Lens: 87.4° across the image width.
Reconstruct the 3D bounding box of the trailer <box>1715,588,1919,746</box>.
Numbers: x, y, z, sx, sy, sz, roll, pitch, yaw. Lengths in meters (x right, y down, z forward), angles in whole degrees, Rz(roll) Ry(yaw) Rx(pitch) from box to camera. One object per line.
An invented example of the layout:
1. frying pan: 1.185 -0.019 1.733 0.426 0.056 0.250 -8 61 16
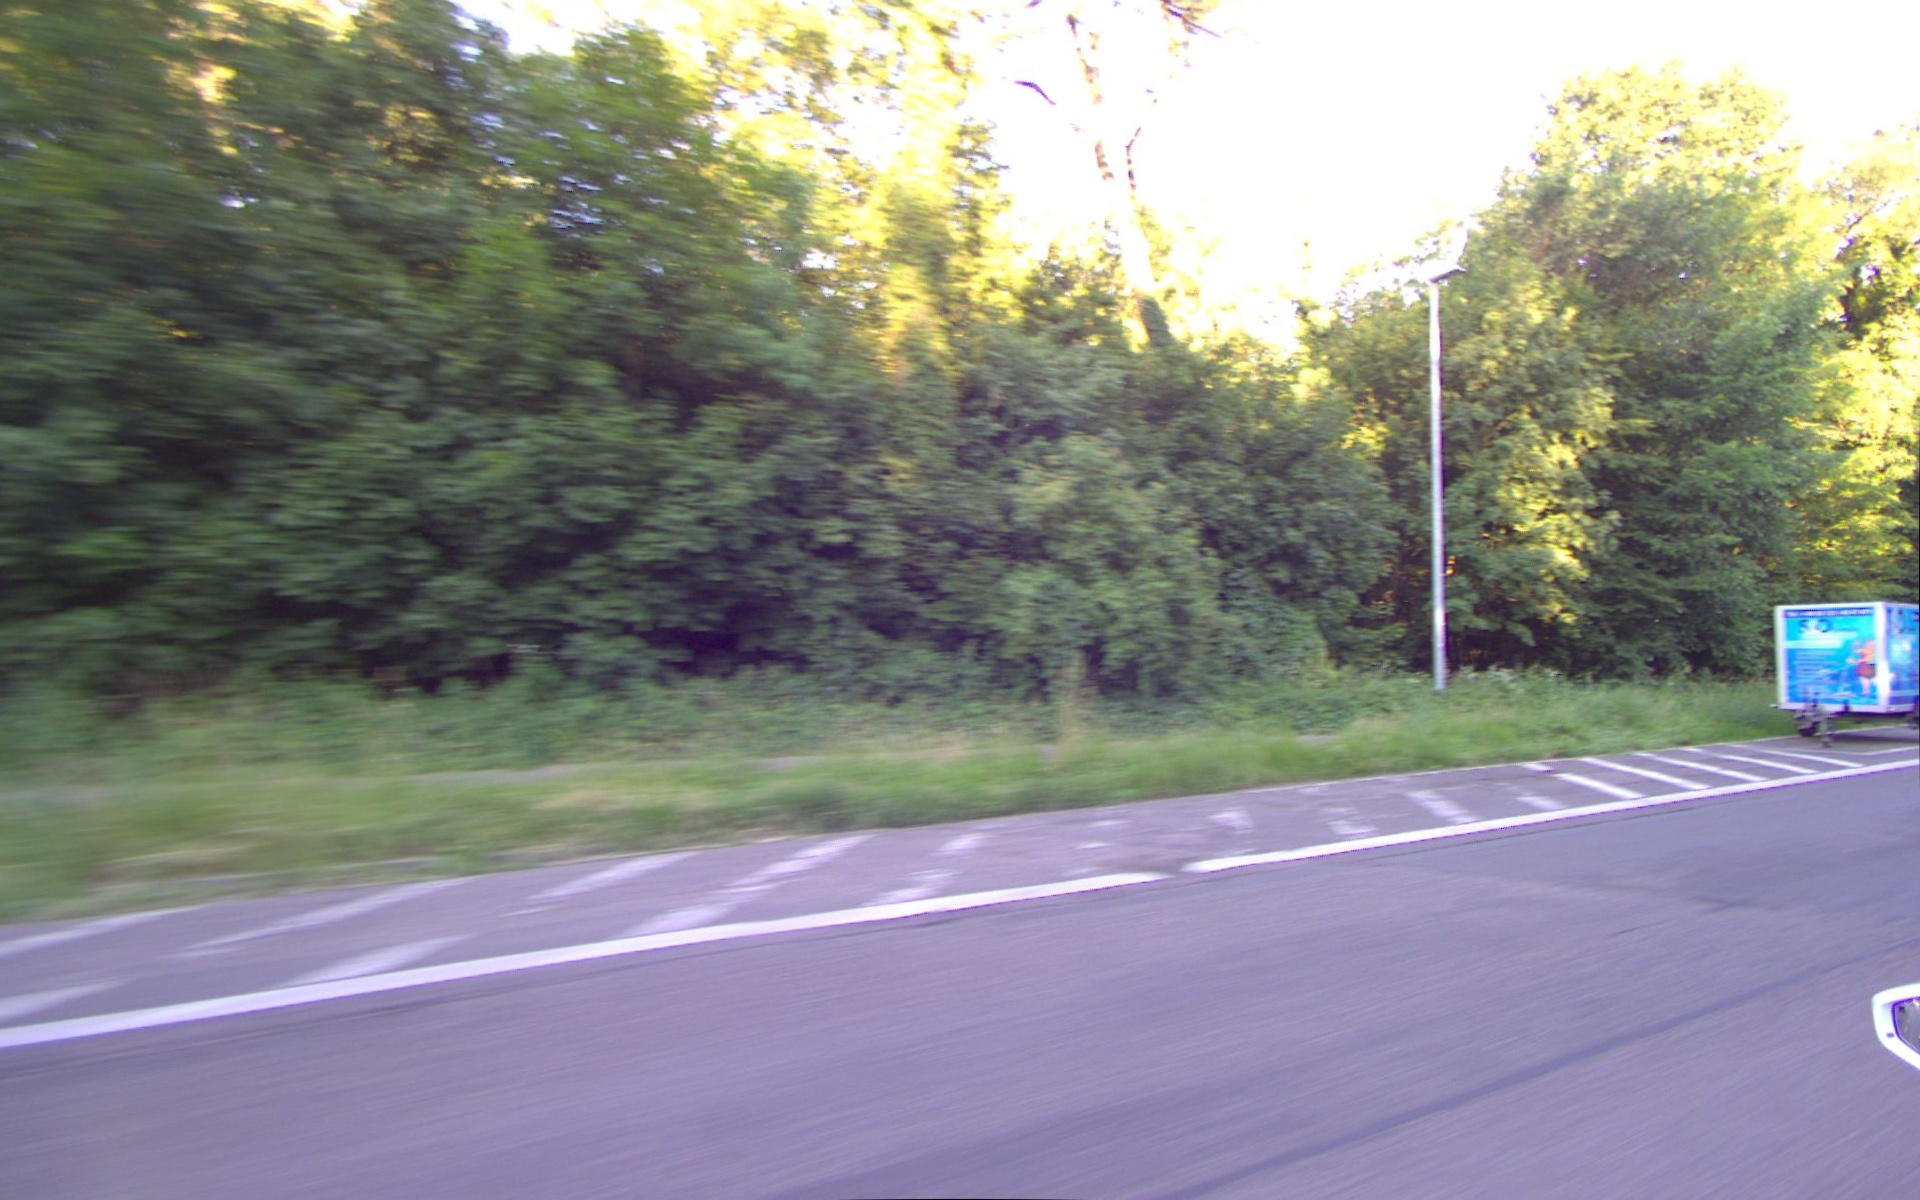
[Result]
1. trailer: 13.894 1.006 15.792 4.095 2.196 1.808 1 -2 -31
